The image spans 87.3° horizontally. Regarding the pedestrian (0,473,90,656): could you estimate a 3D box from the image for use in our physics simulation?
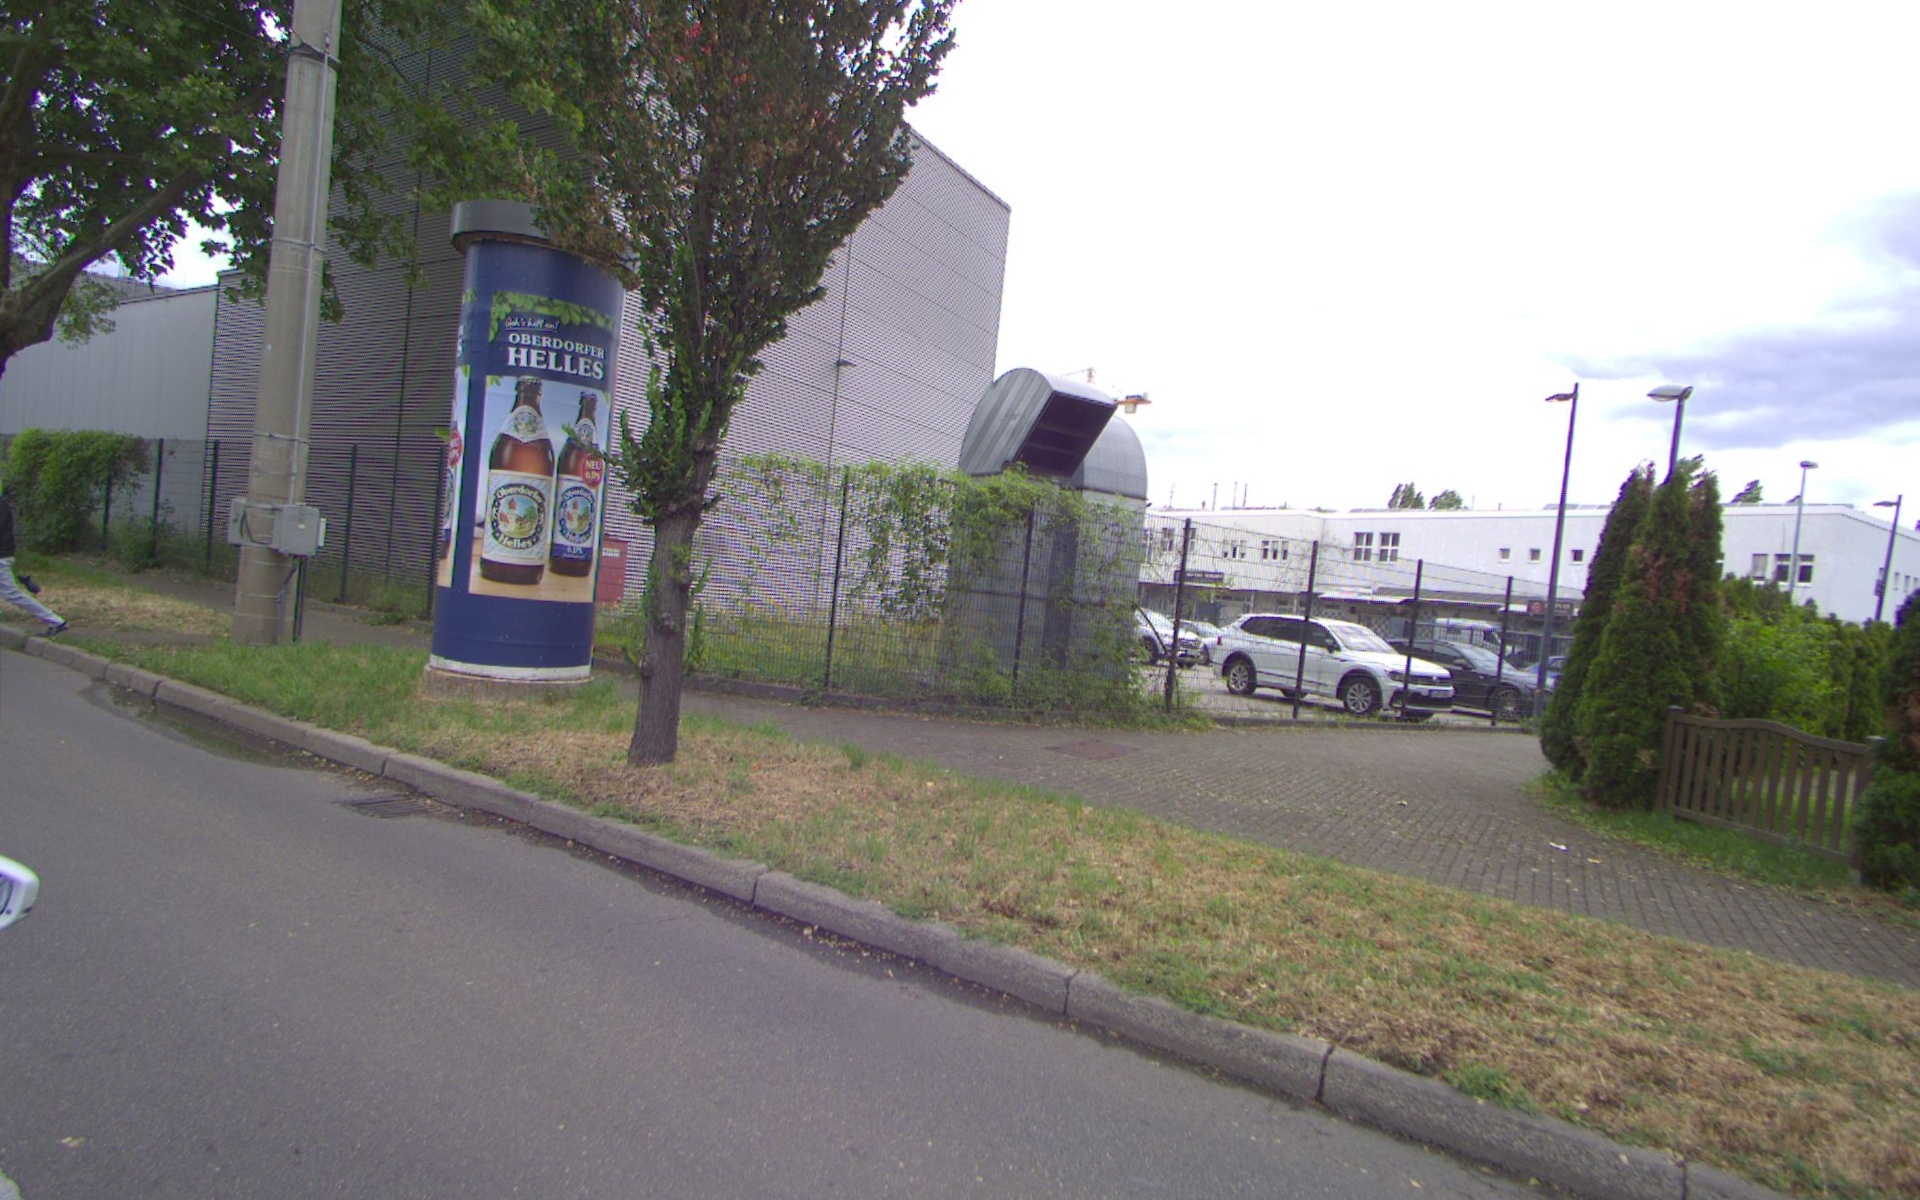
[{"bbox_3d":[-9.863,-0.390,10.351,0.802,1.781,1.116,6,-1,40],"label":"pedestrian"}]

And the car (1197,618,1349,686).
[{"bbox_3d":[10.042,1.639,32.570,1.982,1.668,4.233,8,-2,-34],"label":"car"}]

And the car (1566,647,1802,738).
[{"bbox_3d":[18.763,2.367,26.297,1.978,1.686,4.464,6,1,-31],"label":"car"}]

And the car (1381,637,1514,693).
[{"bbox_3d":[19.379,2.571,40.164,1.982,1.668,4.233,8,-2,-34],"label":"car"}]

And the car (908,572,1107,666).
[{"bbox_3d":[1.133,0.460,24.213,4.197,1.668,1.999,6,-2,29],"label":"car"}]

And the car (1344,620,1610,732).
[{"bbox_3d":[10.625,1.518,21.039,1.978,1.686,4.464,6,1,-31],"label":"car"}]

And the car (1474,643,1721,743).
[{"bbox_3d":[15.094,2.158,24.076,1.978,1.686,4.464,6,1,-31],"label":"car"}]

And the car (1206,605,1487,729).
[{"bbox_3d":[6.959,1.154,18.635,1.978,1.686,4.464,6,1,-31],"label":"car"}]

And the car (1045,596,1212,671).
[{"bbox_3d":[4.861,0.951,29.571,4.418,1.687,1.999,6,1,-1],"label":"car"}]
